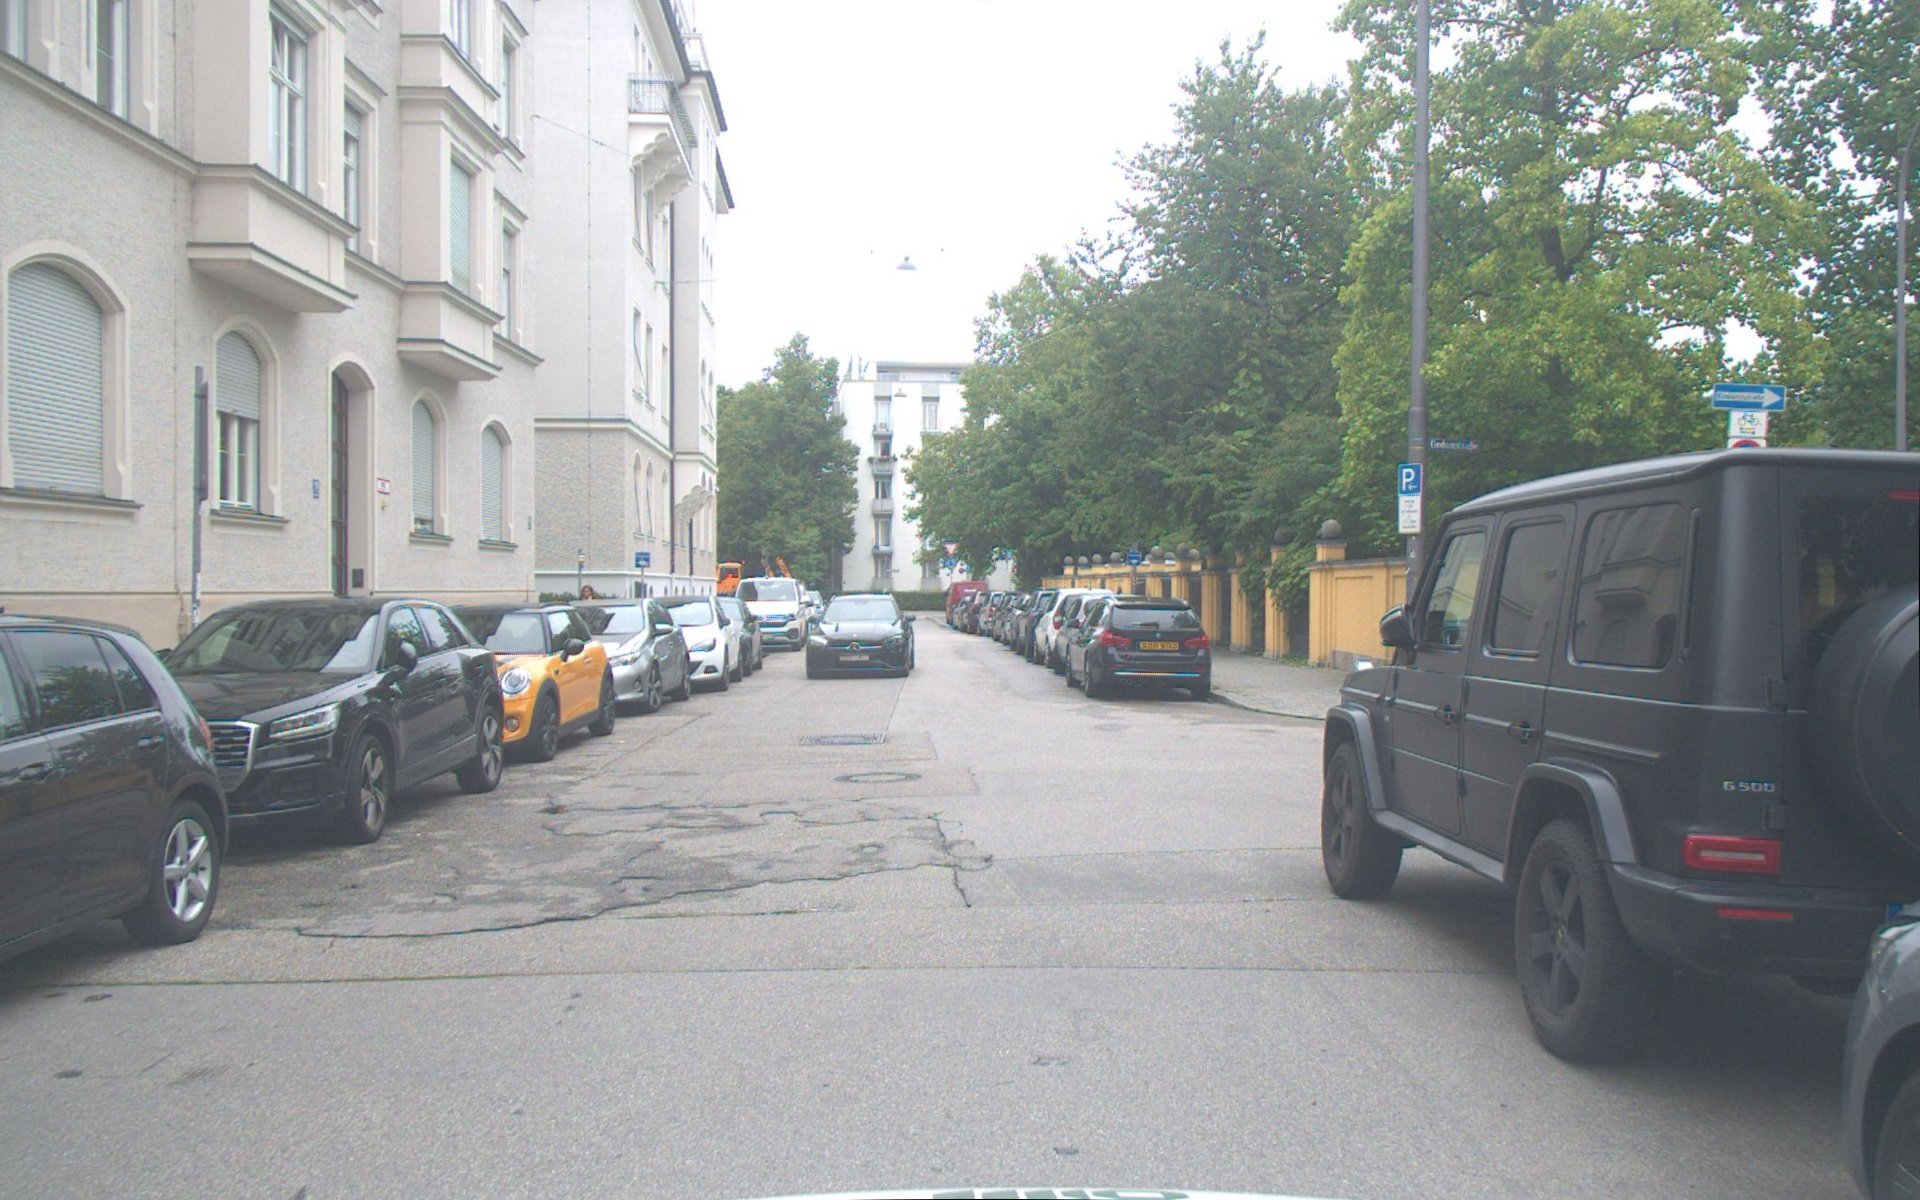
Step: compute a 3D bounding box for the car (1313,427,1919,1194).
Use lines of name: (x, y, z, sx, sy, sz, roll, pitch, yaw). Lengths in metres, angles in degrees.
car: (2.928, 0.510, 6.650, 1.911, 1.988, 4.665, 1, 1, -1)

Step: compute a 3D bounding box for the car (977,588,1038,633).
car: (1.658, 0.364, 59.310, 1.802, 1.545, 3.944, 1, 0, -4)

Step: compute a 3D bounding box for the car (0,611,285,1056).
car: (-4.192, 0.863, 5.843, 1.799, 1.460, 4.245, -3, 1, 0)

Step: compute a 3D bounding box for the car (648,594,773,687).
car: (-4.697, 0.723, 31.732, 1.799, 1.525, 4.273, -3, 1, -2)

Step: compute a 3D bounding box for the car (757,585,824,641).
car: (-5.836, 0.402, 57.334, 1.975, 1.756, 4.273, -3, 1, -2)

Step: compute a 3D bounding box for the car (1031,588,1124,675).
car: (2.407, 0.620, 34.570, 1.483, 1.690, 3.672, 1, 0, -3)

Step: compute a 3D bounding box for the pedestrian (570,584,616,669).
pedestrian: (-7.486, 0.535, 33.751, 0.776, 1.708, 0.700, -1, 0, -1)

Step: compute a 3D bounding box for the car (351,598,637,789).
car: (-4.461, 0.816, 16.450, 1.607, 1.525, 3.972, -3, 1, 1)

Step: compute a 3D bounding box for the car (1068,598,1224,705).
car: (2.684, 0.709, 24.825, 1.801, 1.438, 4.342, 1, 0, -1)

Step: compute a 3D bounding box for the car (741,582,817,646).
car: (-5.597, 0.391, 51.533, 1.975, 1.802, 4.412, -3, 1, -2)

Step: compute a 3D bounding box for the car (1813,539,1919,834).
car: (8.651, 0.551, 11.613, 4.443, 1.984, 1.901, -1, 2, -7)

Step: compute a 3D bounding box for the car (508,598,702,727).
car: (-4.606, 0.754, 22.022, 1.690, 1.526, 3.930, -2, 0, 0)

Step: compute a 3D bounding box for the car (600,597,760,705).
car: (-4.460, 0.765, 26.918, 1.799, 1.463, 4.275, -3, 1, 0)

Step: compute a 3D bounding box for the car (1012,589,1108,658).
car: (2.375, 0.540, 40.081, 1.802, 1.578, 3.944, 1, 0, -4)

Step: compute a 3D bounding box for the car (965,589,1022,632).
car: (1.240, 0.388, 63.259, 1.802, 1.545, 3.944, 1, 0, -4)

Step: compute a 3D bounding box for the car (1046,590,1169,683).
car: (2.593, 0.616, 29.843, 1.620, 1.545, 3.792, 1, 0, -4)

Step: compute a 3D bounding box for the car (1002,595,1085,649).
car: (2.232, 0.573, 45.326, 1.802, 1.369, 3.944, 1, 0, -4)

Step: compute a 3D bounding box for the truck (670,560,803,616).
truck: (-13.670, -0.744, 101.432, 7.592, 3.298, 2.869, -1, 0, -31)

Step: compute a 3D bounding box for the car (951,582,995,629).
car: (0.616, 0.223, 75.107, 1.798, 1.960, 4.006, 2, 1, 2)

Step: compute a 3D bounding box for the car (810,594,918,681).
car: (-1.748, 0.636, 30.462, 1.837, 1.453, 4.406, 0, 0, -3)

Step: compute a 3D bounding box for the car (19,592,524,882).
car: (-4.409, 0.765, 11.333, 1.717, 1.525, 4.019, -2, 1, 0)

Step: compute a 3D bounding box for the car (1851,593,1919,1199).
car: (2.899, 0.797, 1.881, 1.688, 1.545, 3.629, 2, 0, -2)

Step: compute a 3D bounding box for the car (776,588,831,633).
car: (-6.514, 0.403, 69.046, 1.975, 1.662, 4.412, -3, 1, -2)

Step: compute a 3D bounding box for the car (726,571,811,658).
car: (-5.196, 0.350, 45.411, 1.848, 2.164, 4.704, -3, 1, -2)
